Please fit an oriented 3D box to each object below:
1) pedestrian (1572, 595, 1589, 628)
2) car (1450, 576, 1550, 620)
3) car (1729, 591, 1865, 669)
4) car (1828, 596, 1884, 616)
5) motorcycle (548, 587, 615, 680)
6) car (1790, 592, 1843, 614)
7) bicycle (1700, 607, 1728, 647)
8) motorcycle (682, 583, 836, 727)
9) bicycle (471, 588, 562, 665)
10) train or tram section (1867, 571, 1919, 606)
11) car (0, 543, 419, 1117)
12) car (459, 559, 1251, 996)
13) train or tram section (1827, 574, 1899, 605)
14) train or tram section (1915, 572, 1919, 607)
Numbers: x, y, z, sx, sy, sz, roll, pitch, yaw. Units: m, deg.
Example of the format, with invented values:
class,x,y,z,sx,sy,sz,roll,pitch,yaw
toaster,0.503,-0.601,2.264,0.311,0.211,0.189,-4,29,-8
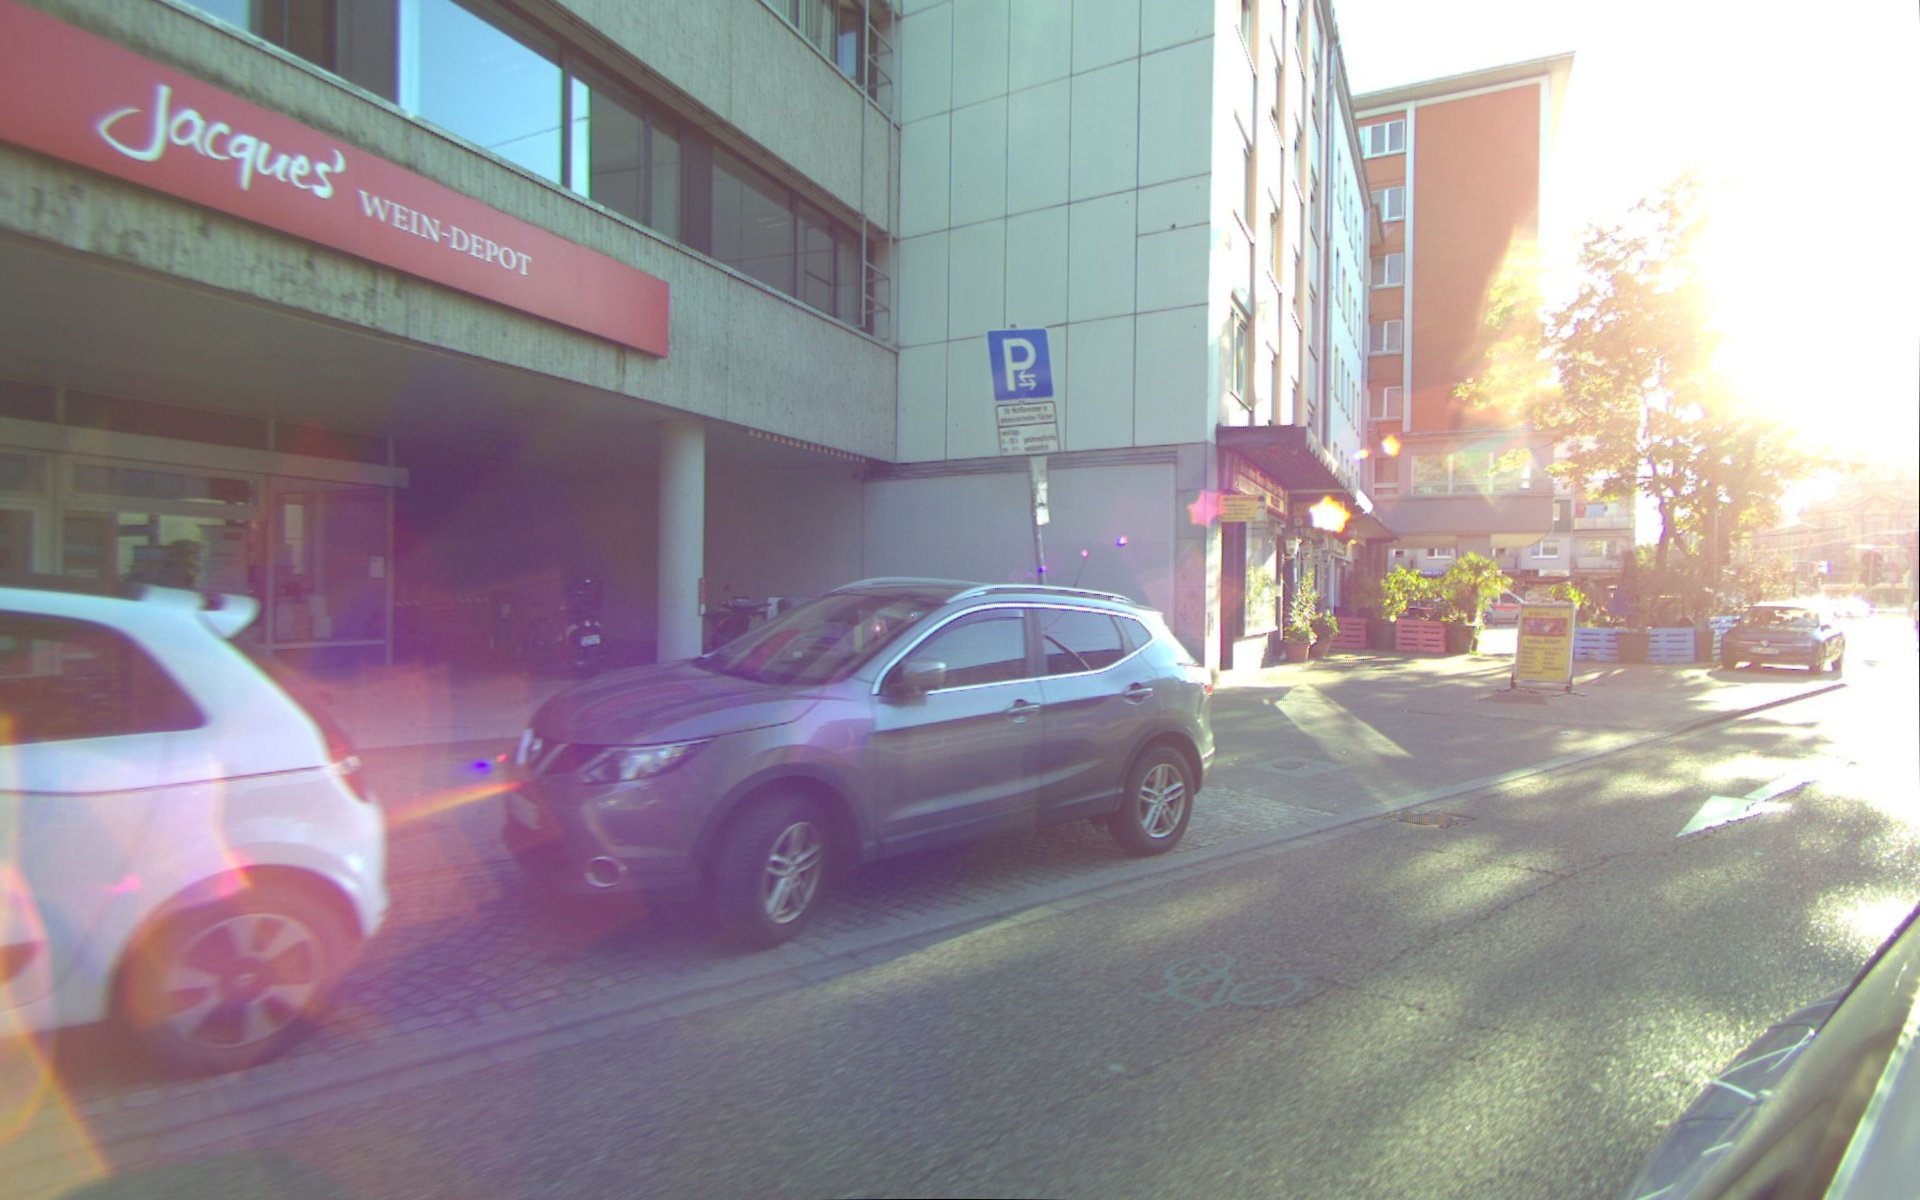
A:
class,x,y,z,sx,sy,sz,roll,pitch,yaw
pedestrian,32.758,0.605,53.435,0.723,1.683,0.897,1,0,28
car,32.414,-0.140,60.887,5.216,2.514,1.907,1,0,27
car,18.490,0.591,22.310,3.832,1.490,1.731,0,3,-42
car,68.190,0.452,77.096,1.823,1.419,4.547,-2,-1,23
motorcycle,-5.334,0.423,14.198,0.519,1.220,2.021,0,0,-31
car,71.181,0.264,84.189,1.935,1.734,4.813,-2,-1,23
bicycle,22.629,0.797,30.383,0.418,1.172,1.738,1,-1,28
motorcycle,-2.156,0.530,10.722,1.780,1.348,0.575,3,2,39
bicycle,-7.043,0.393,16.030,1.860,1.087,0.477,3,1,38
train or tram section,101.875,-1.159,108.898,2.754,3.580,13.134,0,0,25
car,-3.729,0.612,2.930,3.547,1.575,1.611,0,3,-41
car,-0.360,0.634,5.749,4.158,1.575,1.786,0,3,-39
train or tram section,107.525,-1.215,120.738,2.754,3.580,13.134,0,0,25
train or tram section,96.790,-1.037,98.252,2.754,3.580,10.477,0,0,26
